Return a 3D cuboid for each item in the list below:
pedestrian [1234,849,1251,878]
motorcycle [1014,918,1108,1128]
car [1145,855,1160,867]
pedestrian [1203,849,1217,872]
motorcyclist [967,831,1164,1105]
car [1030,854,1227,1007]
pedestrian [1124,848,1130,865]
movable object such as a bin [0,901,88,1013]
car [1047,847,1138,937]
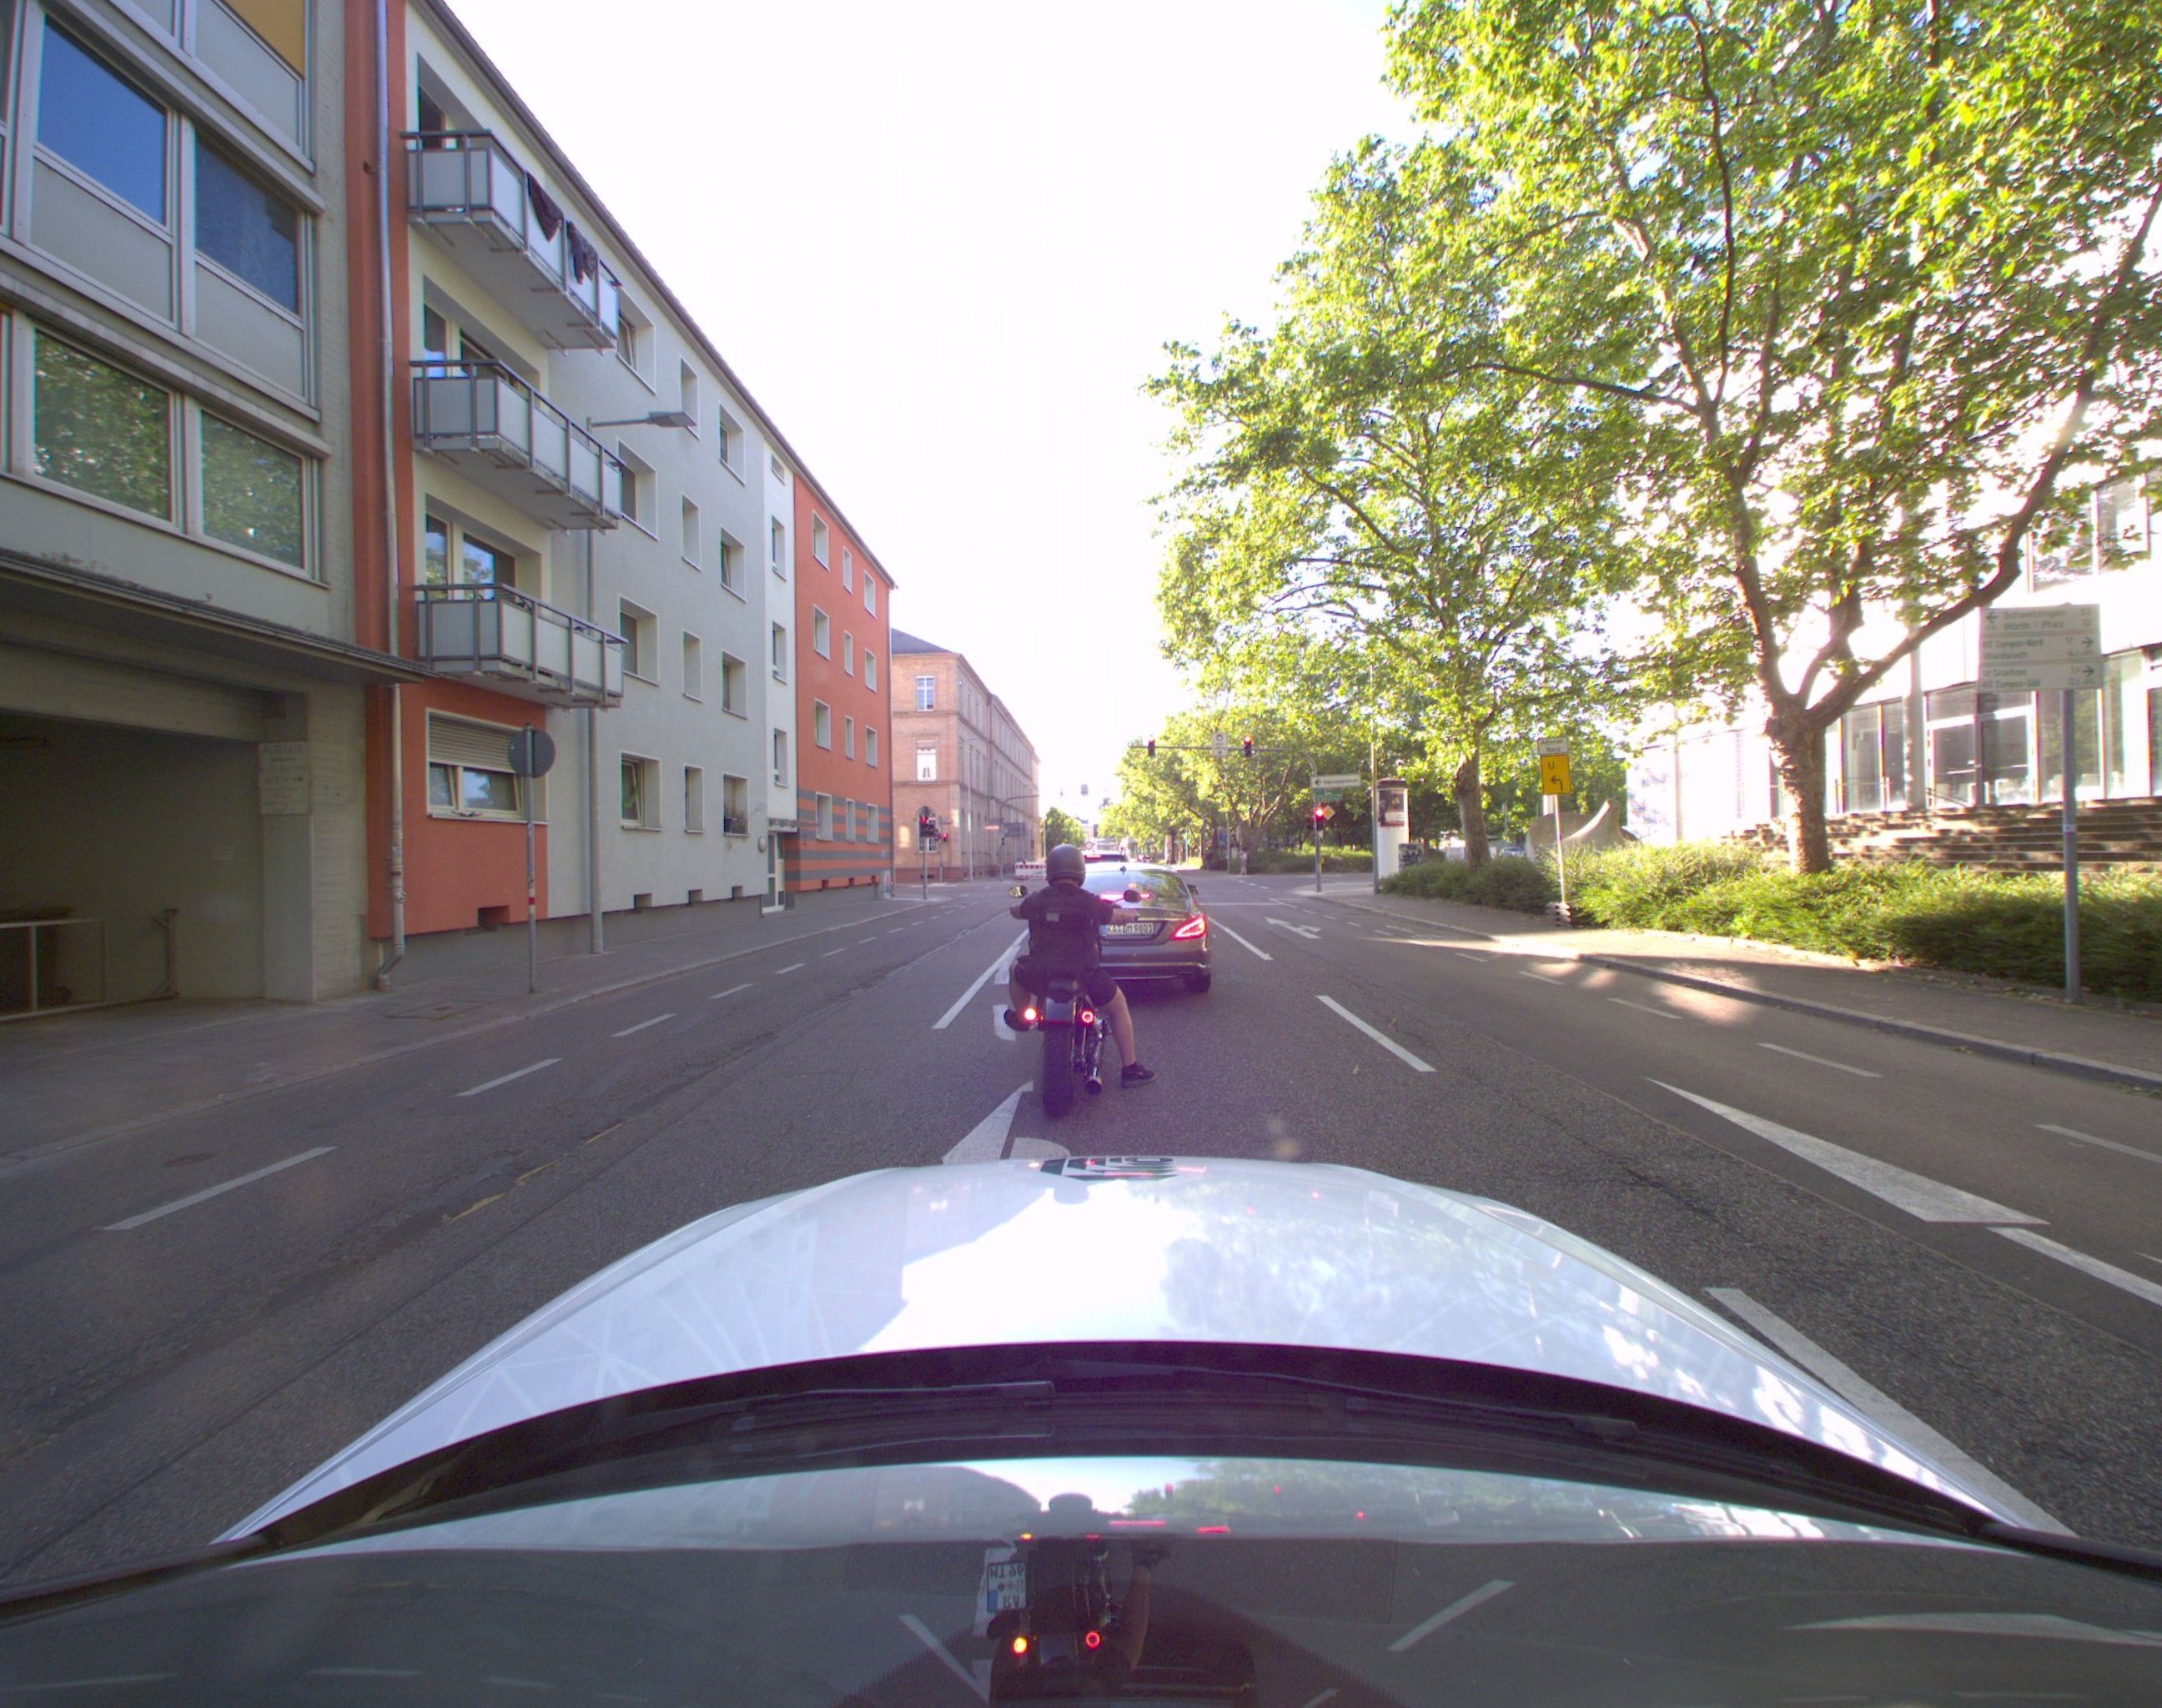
[{"bbox_3d":[10.626,0.623,53.526,0.996,1.826,1.078,0,-1,8],"label":"pedestrian"},{"bbox_3d":[-0.077,1.005,5.460,0.511,1.002,2.014,0,-1,2],"label":"motorcycle"},{"bbox_3d":[9.169,0.873,104.861,1.769,1.428,3.804,-1,0,2],"label":"car"},{"bbox_3d":[10.822,0.545,68.353,0.753,1.910,0.918,0,-1,-26],"label":"pedestrian"},{"bbox_3d":[-0.073,0.672,5.413,1.145,1.598,1.288,0,-1,1],"label":"motorcyclist"},{"bbox_3d":[0.516,0.740,9.733,1.875,1.449,3.821,0,0,2],"label":"car"},{"bbox_3d":[5.705,0.277,100.858,0.761,2.051,0.712,0,-1,1],"label":"pedestrian"},{"bbox_3d":[-11.258,1.068,8.637,0.626,1.100,0.659,0,-1,4],"label":"movable object such as a bin"},{"bbox_3d":[0.275,0.693,16.862,1.615,1.594,4.002,-1,0,2],"label":"car"}]
